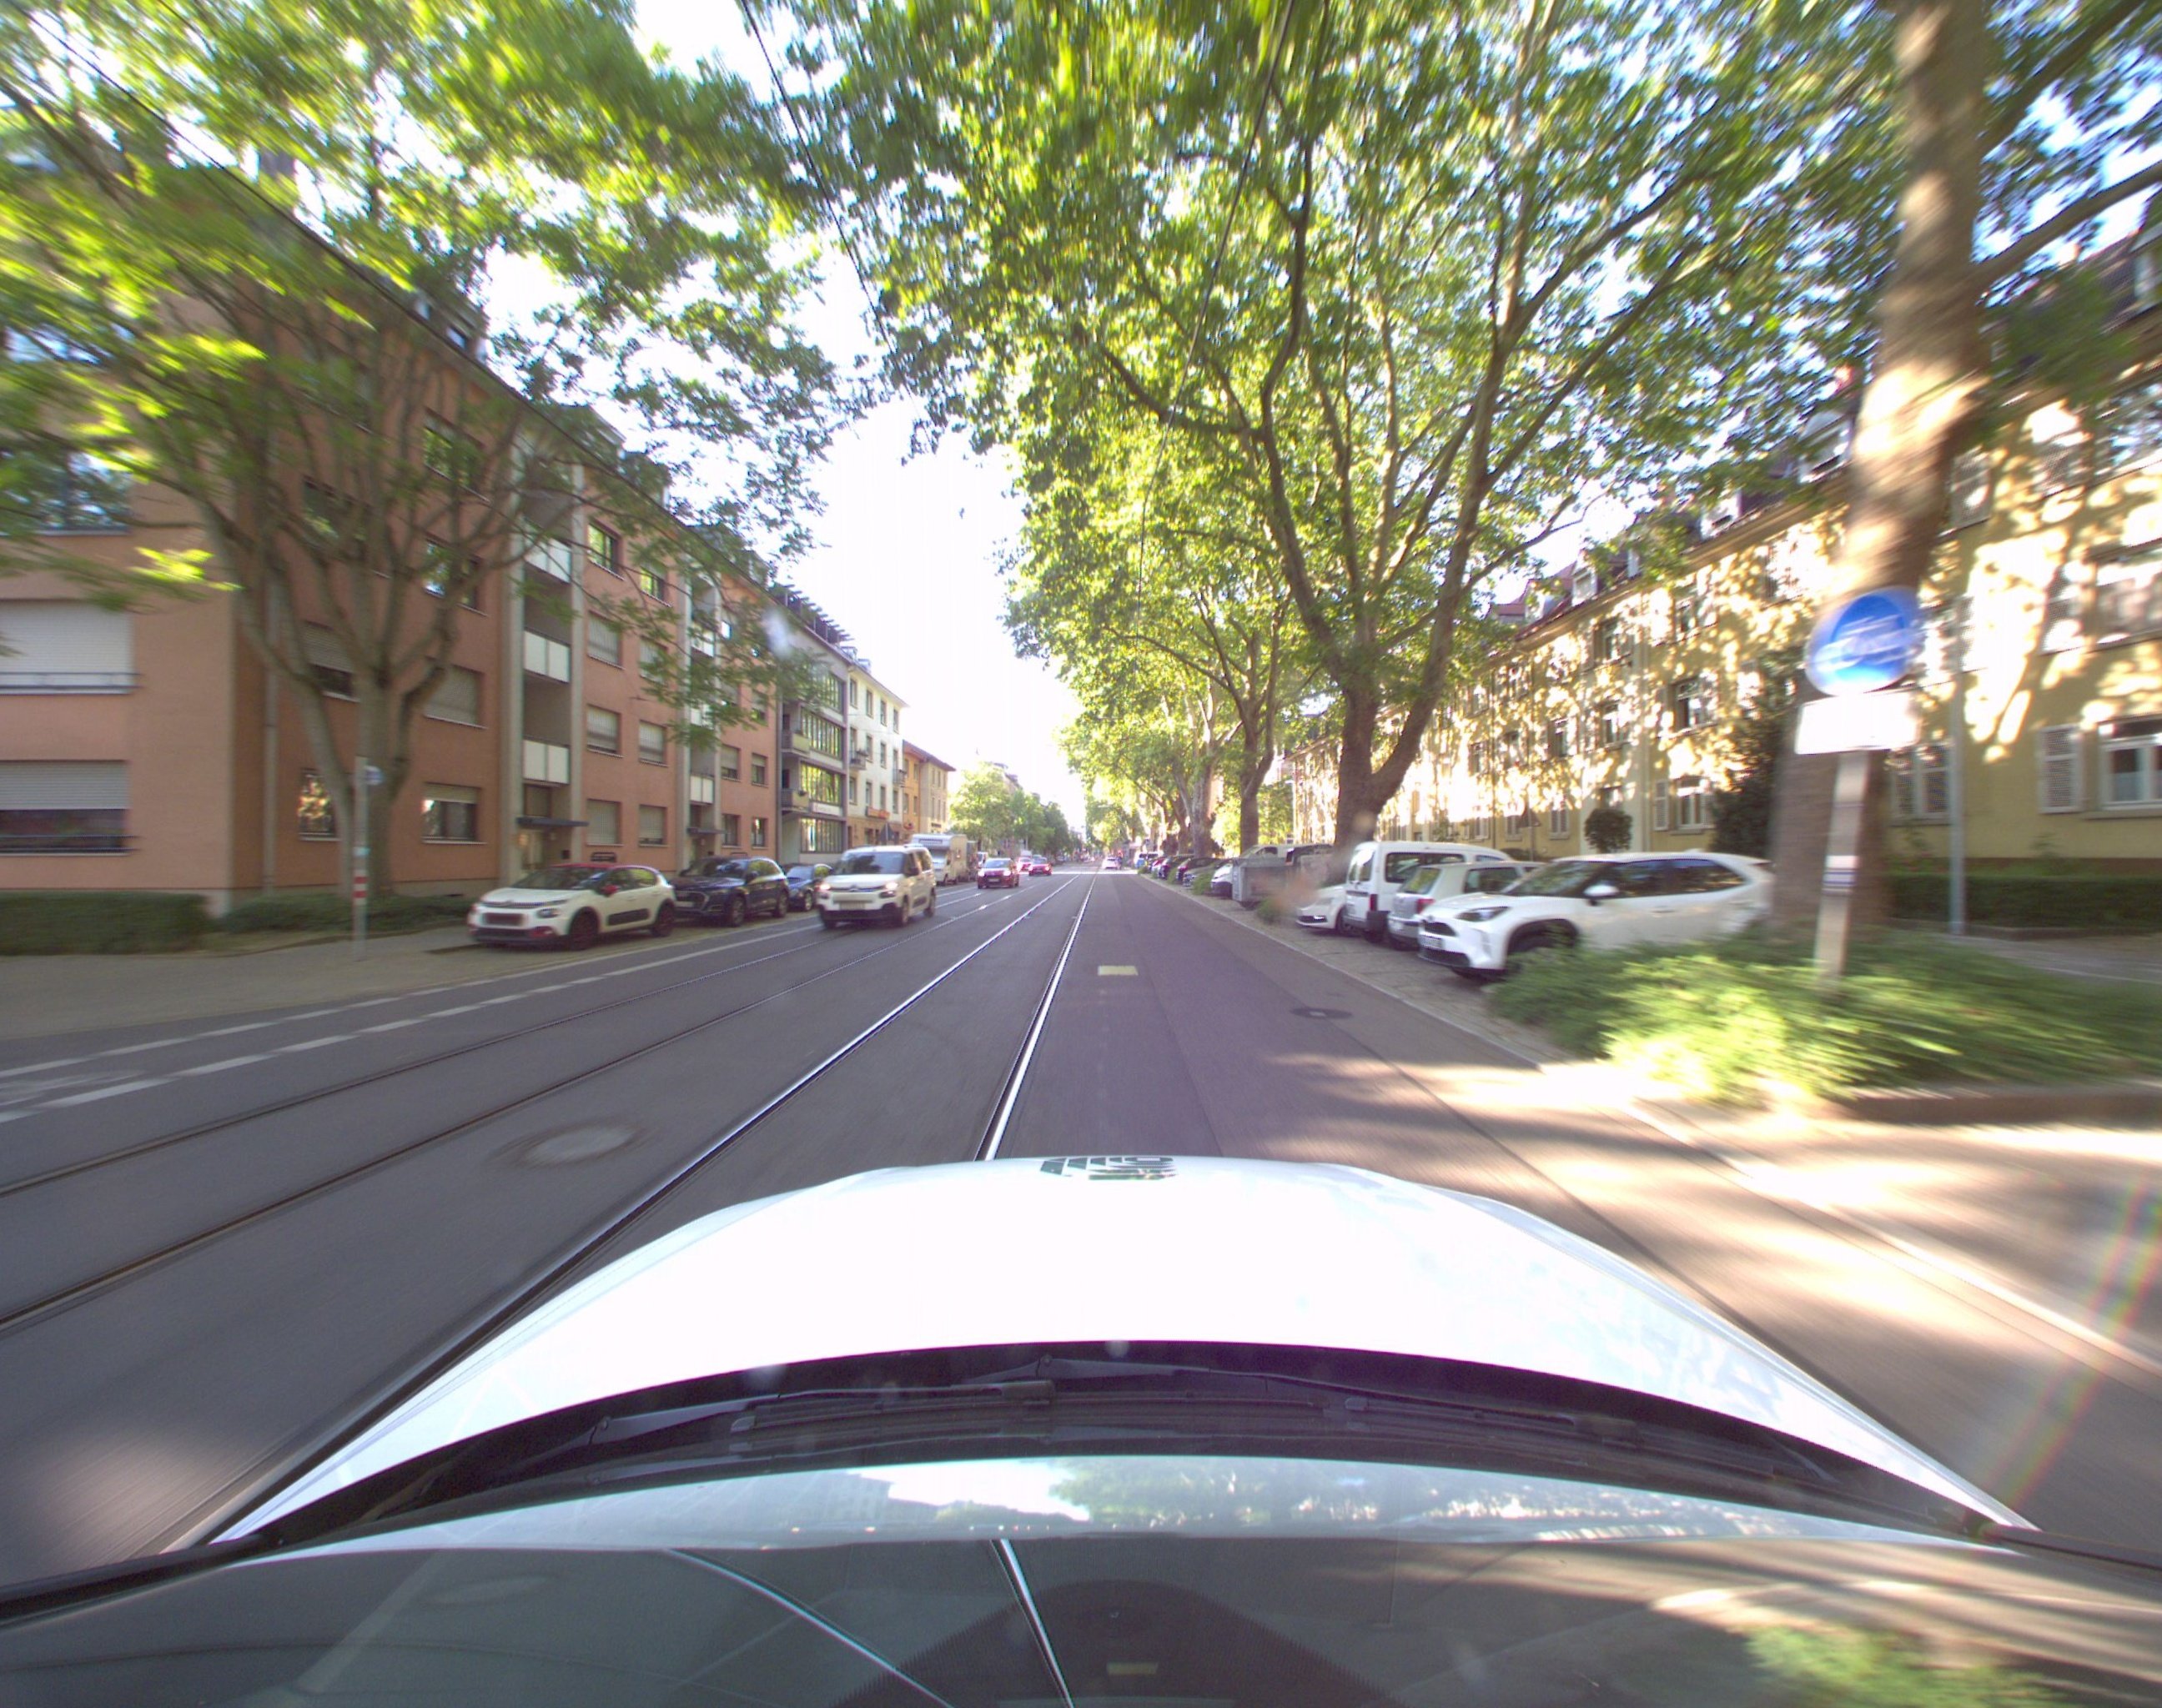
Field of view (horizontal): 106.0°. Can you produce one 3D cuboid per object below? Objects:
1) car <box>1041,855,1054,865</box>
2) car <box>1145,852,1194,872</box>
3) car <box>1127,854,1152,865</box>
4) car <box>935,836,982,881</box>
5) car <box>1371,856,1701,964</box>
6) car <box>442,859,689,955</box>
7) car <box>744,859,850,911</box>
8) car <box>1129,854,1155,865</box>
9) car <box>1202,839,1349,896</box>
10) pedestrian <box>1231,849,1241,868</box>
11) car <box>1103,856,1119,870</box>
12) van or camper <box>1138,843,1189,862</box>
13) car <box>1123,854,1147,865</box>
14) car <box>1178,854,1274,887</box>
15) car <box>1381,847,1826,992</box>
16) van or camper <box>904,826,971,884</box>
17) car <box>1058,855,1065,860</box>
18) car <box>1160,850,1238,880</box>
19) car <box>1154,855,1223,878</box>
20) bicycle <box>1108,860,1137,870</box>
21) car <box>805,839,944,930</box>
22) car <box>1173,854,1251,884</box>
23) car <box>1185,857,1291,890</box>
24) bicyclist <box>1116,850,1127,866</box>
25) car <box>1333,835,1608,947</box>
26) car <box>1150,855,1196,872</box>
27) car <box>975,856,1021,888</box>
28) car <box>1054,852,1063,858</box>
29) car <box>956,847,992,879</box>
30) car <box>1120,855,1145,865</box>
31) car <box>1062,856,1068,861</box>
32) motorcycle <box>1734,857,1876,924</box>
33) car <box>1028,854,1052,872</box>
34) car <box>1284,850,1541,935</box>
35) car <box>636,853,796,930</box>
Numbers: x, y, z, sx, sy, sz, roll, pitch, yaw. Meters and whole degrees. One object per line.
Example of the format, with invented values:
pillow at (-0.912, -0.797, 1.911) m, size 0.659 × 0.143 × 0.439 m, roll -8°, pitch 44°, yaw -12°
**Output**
car at (-6.206, 1.110, 152.108) m, size 1.986 × 1.745 × 4.660 m, roll 0°, pitch 0°, yaw 1°
car at (7.483, 0.667, 68.855) m, size 3.911 × 1.670 × 1.960 m, roll 0°, pitch 0°, yaw -1°
car at (9.298, 0.881, 129.687) m, size 3.972 × 1.784 × 2.001 m, roll 0°, pitch 0°, yaw 1°
car at (-8.048, 0.298, 54.093) m, size 2.079 × 2.731 × 5.311 m, roll 3°, pitch 0°, yaw 1°
car at (6.469, 0.764, 11.979) m, size 3.826 × 1.433 × 1.854 m, roll 0°, pitch 0°, yaw 5°
car at (-9.255, 0.866, 15.106) m, size 1.799 × 1.478 × 4.092 m, roll 2°, pitch 0°, yaw 2°
car at (-8.782, 0.903, 25.603) m, size 1.732 × 1.401 × 4.383 m, roll 2°, pitch 0°, yaw 0°
car at (9.456, 0.870, 127.400) m, size 3.972 × 1.784 × 2.001 m, roll 0°, pitch 0°, yaw 1°
car at (6.931, 0.481, 29.442) m, size 4.822 × 1.963 × 2.064 m, roll 0°, pitch 0°, yaw -1°
pedestrian at (14.105, 0.431, 74.166) m, size 0.757 × 1.739 × 0.821 m, roll 0°, pitch 0°, yaw 1°
car at (3.583, 1.056, 97.769) m, size 1.911 × 1.584 × 3.792 m, roll -2°, pitch 0°, yaw 1°
van or camper at (9.413, -0.173, 92.871) m, size 5.543 × 2.013 × 2.242 m, roll -1°, pitch 2°, yaw -4°
car at (8.792, 0.857, 132.960) m, size 3.972 × 1.784 × 2.001 m, roll 0°, pitch 0°, yaw 1°
car at (6.778, 0.768, 38.350) m, size 4.232 × 1.483 × 1.898 m, roll 0°, pitch 0°, yaw 1°
car at (5.945, 0.708, 9.673) m, size 4.074 × 1.521 × 1.916 m, roll 0°, pitch -1°, yaw 0°
van or camper at (-8.230, 0.057, 47.480) m, size 2.328 × 3.041 × 6.401 m, roll 3°, pitch 0°, yaw 2°
car at (-5.613, 1.079, 232.745) m, size 1.912 × 1.419 × 3.589 m, roll 0°, pitch 0°, yaw -1°
car at (7.014, 0.651, 48.889) m, size 4.475 × 1.602 × 2.030 m, roll -2°, pitch 0°, yaw 5°
car at (7.000, 0.823, 53.372) m, size 4.281 × 1.439 × 1.948 m, roll 0°, pitch 0°, yaw 0°
bicycle at (4.399, 1.168, 86.649) m, size 2.946 × 1.105 × 1.049 m, roll 0°, pitch 0°, yaw -8°
car at (-4.613, 0.624, 18.993) m, size 1.885 × 1.832 × 4.896 m, roll 0°, pitch 0°, yaw 1°
car at (6.768, 0.747, 42.259) m, size 3.824 × 1.509 × 1.711 m, roll 0°, pitch 0°, yaw 1°
car at (6.782, 0.848, 35.467) m, size 4.375 × 1.380 × 1.806 m, roll 0°, pitch -1°, yaw 5°
bicyclist at (4.310, 0.436, 86.634) m, size 1.045 × 1.705 × 1.055 m, roll 0°, pitch 0°, yaw -8°
car at (6.481, 0.596, 13.949) m, size 3.826 × 1.772 × 1.919 m, roll 0°, pitch 0°, yaw 5°
car at (7.510, 0.788, 66.629) m, size 3.636 × 1.378 × 1.890 m, roll 0°, pitch 0°, yaw 2°
car at (-4.095, 0.842, 40.816) m, size 1.769 × 1.458 × 4.203 m, roll -2°, pitch 0°, yaw 1°
car at (-5.539, 0.281, 200.390) m, size 1.912 × 1.419 × 3.720 m, roll -1°, pitch 0°, yaw 0°
car at (-7.841, 0.609, 60.148) m, size 1.946 × 2.091 × 5.247 m, roll 3°, pitch 1°, yaw -1°
car at (8.543, 0.985, 135.270) m, size 3.972 × 1.521 × 2.001 m, roll 0°, pitch 0°, yaw 1°
car at (-5.077, 1.461, 254.838) m, size 1.912 × 1.419 × 3.589 m, roll 0°, pitch 0°, yaw -1°
motorcycle at (13.666, 0.647, 15.478) m, size 0.712 × 1.153 × 2.265 m, roll -1°, pitch 0°, yaw 2°
car at (-3.356, 0.725, 67.196) m, size 1.717 × 1.437 × 4.070 m, roll -2°, pitch 0°, yaw 1°
car at (6.332, 0.719, 15.978) m, size 4.350 × 1.542 × 1.804 m, roll 0°, pitch 1°, yaw 5°
car at (-8.816, 0.828, 20.183) m, size 1.775 × 1.610 × 4.588 m, roll 3°, pitch 0°, yaw 0°
